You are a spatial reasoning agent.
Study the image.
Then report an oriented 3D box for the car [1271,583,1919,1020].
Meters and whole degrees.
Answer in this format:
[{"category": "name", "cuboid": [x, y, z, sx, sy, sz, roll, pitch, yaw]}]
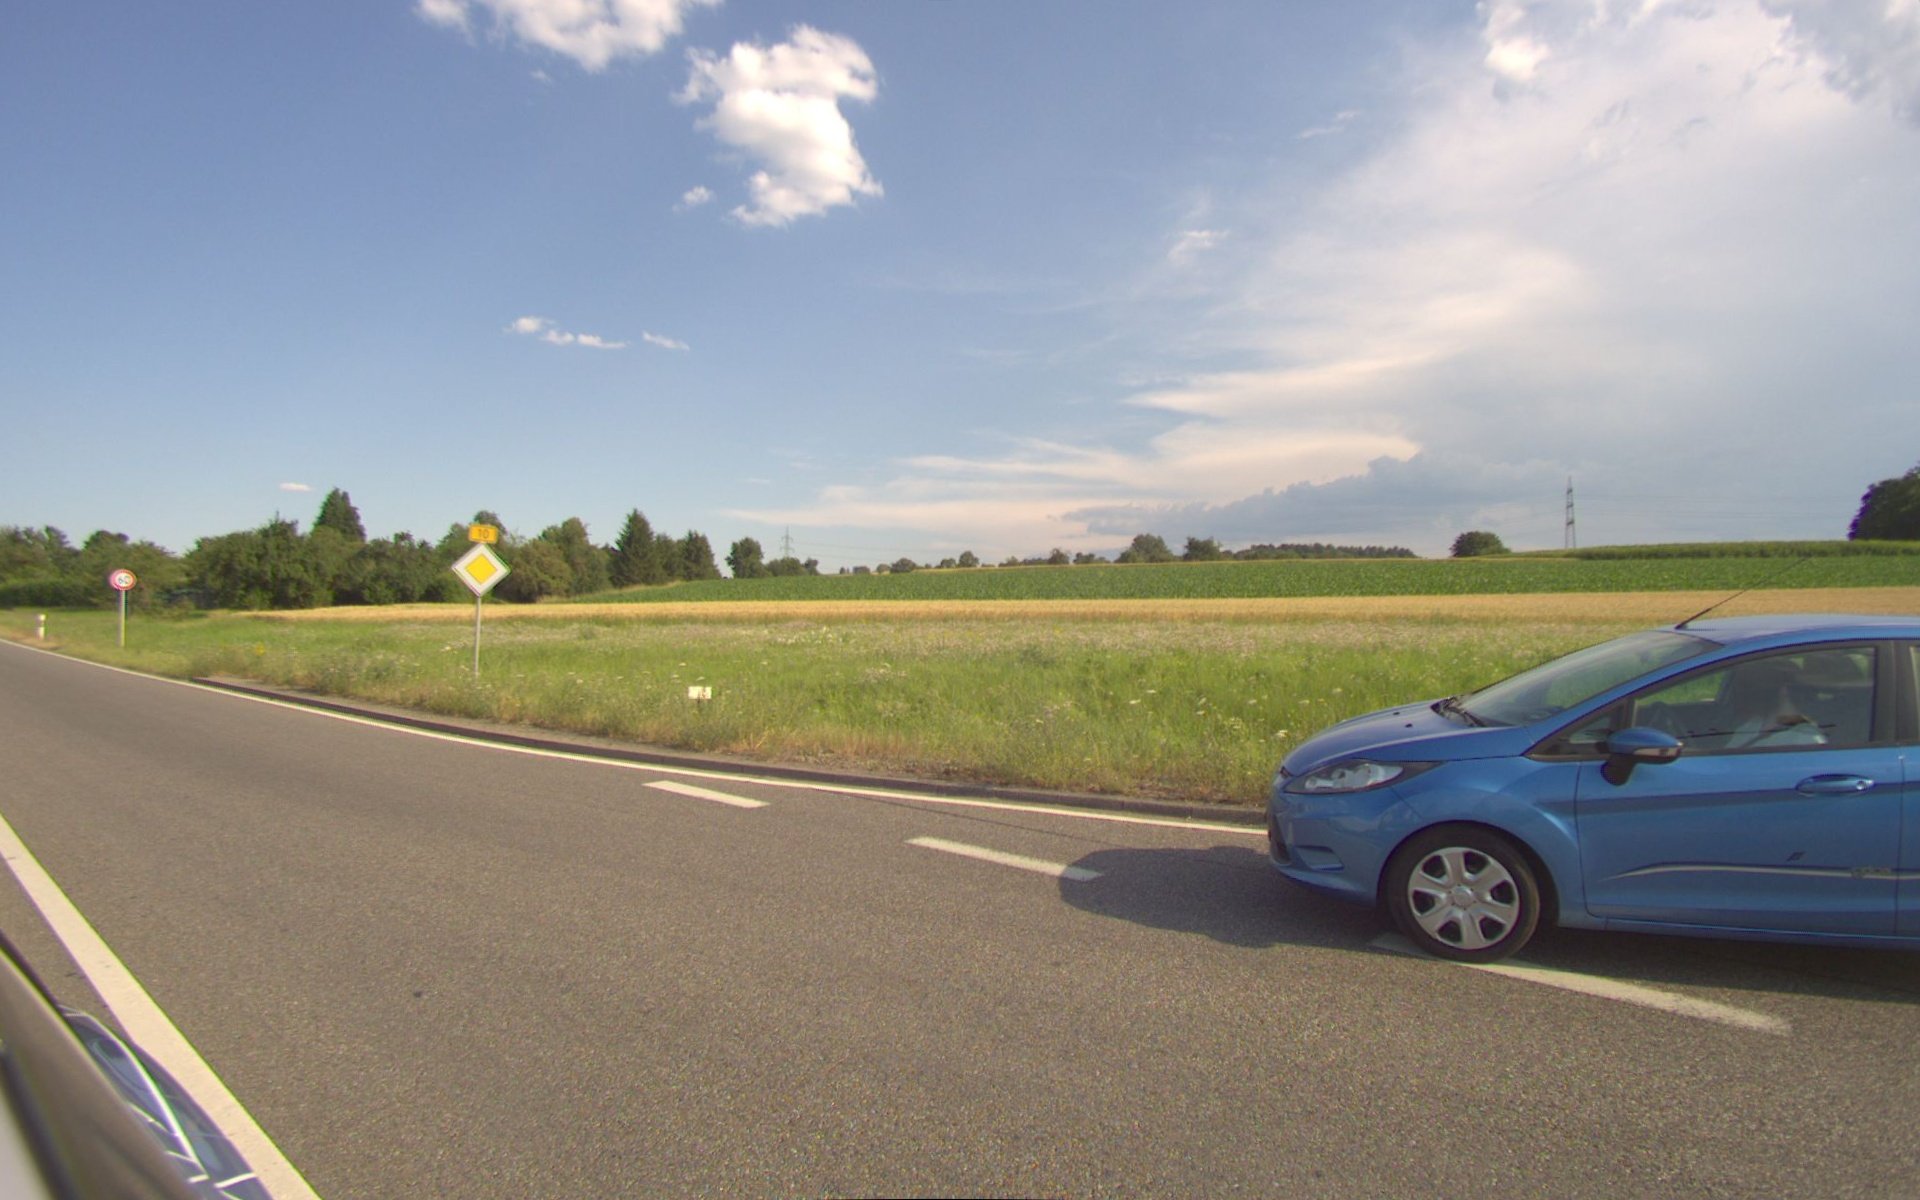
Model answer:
[{"category": "car", "cuboid": [3.462, 0.718, 4.392, 3.964, 1.512, 1.755, -1, -2, 16]}]
